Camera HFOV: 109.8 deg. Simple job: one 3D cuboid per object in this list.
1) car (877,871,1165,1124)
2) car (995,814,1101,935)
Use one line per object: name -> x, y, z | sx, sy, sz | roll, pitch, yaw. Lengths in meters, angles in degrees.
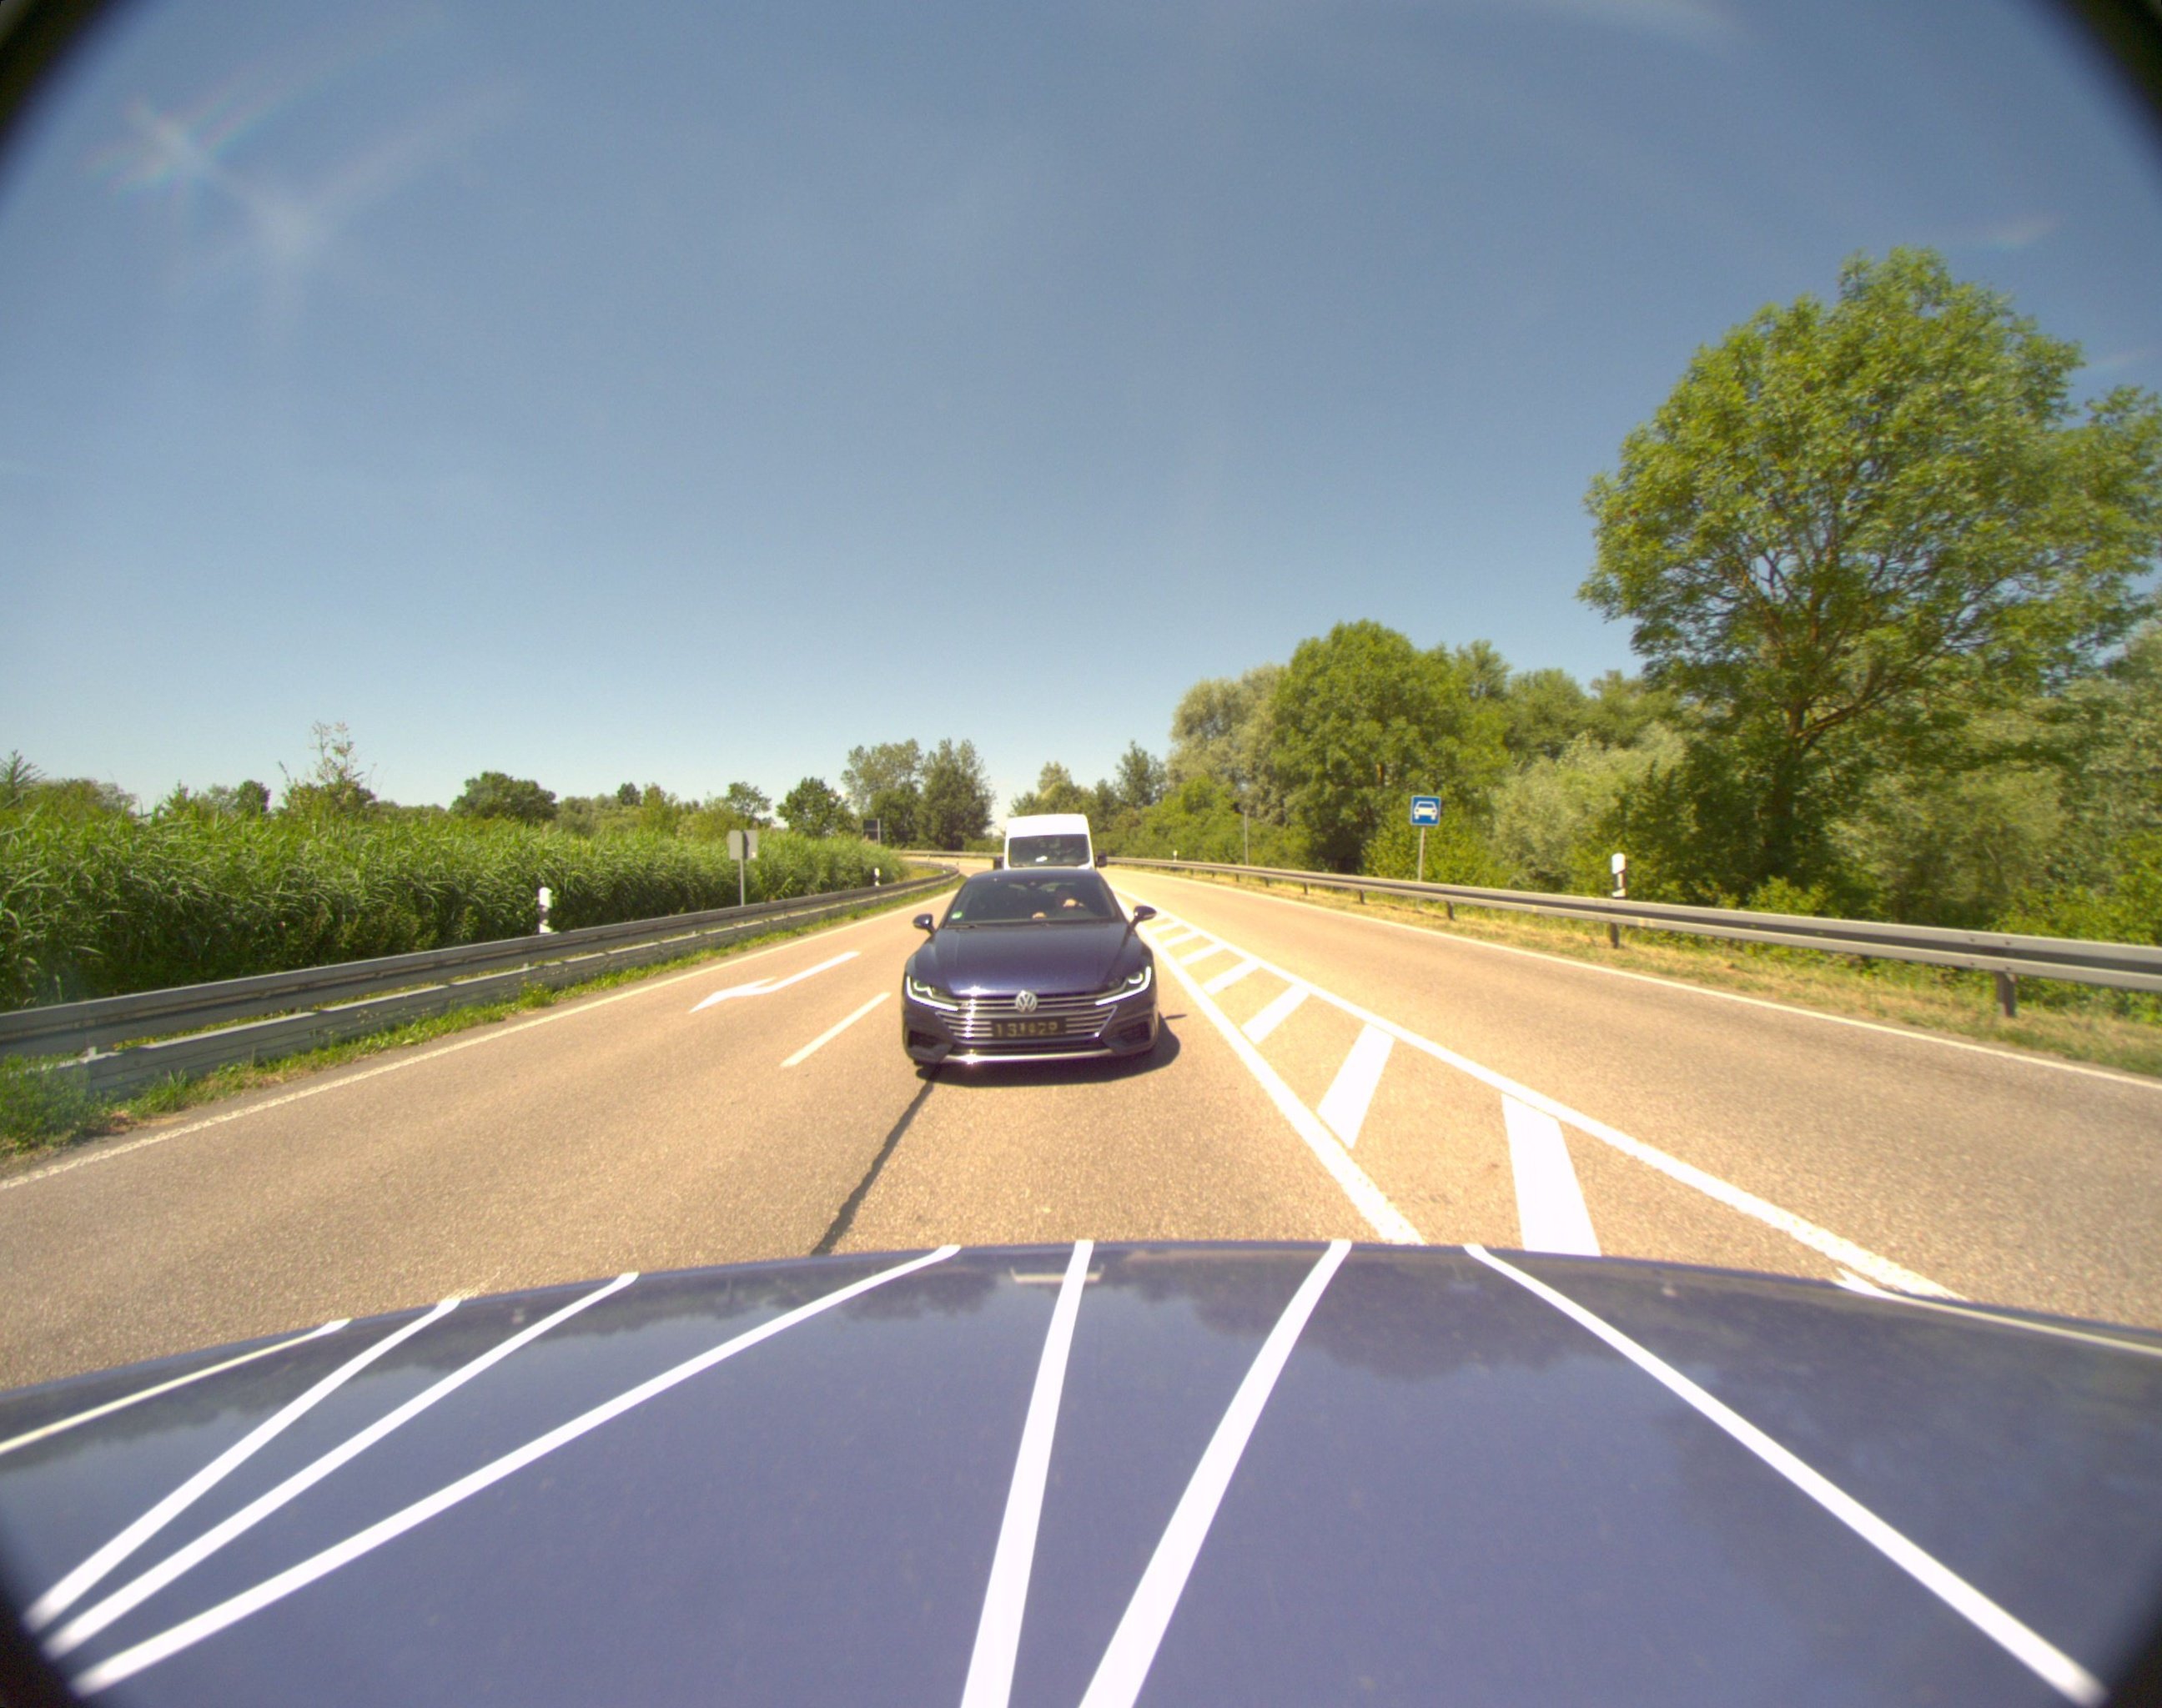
car -> -0.368, 0.950, 6.779 | 1.761, 1.401, 3.999 | -2, 1, 0
car -> -0.647, 0.384, 18.256 | 2.059, 2.376, 5.826 | -2, 1, 0
